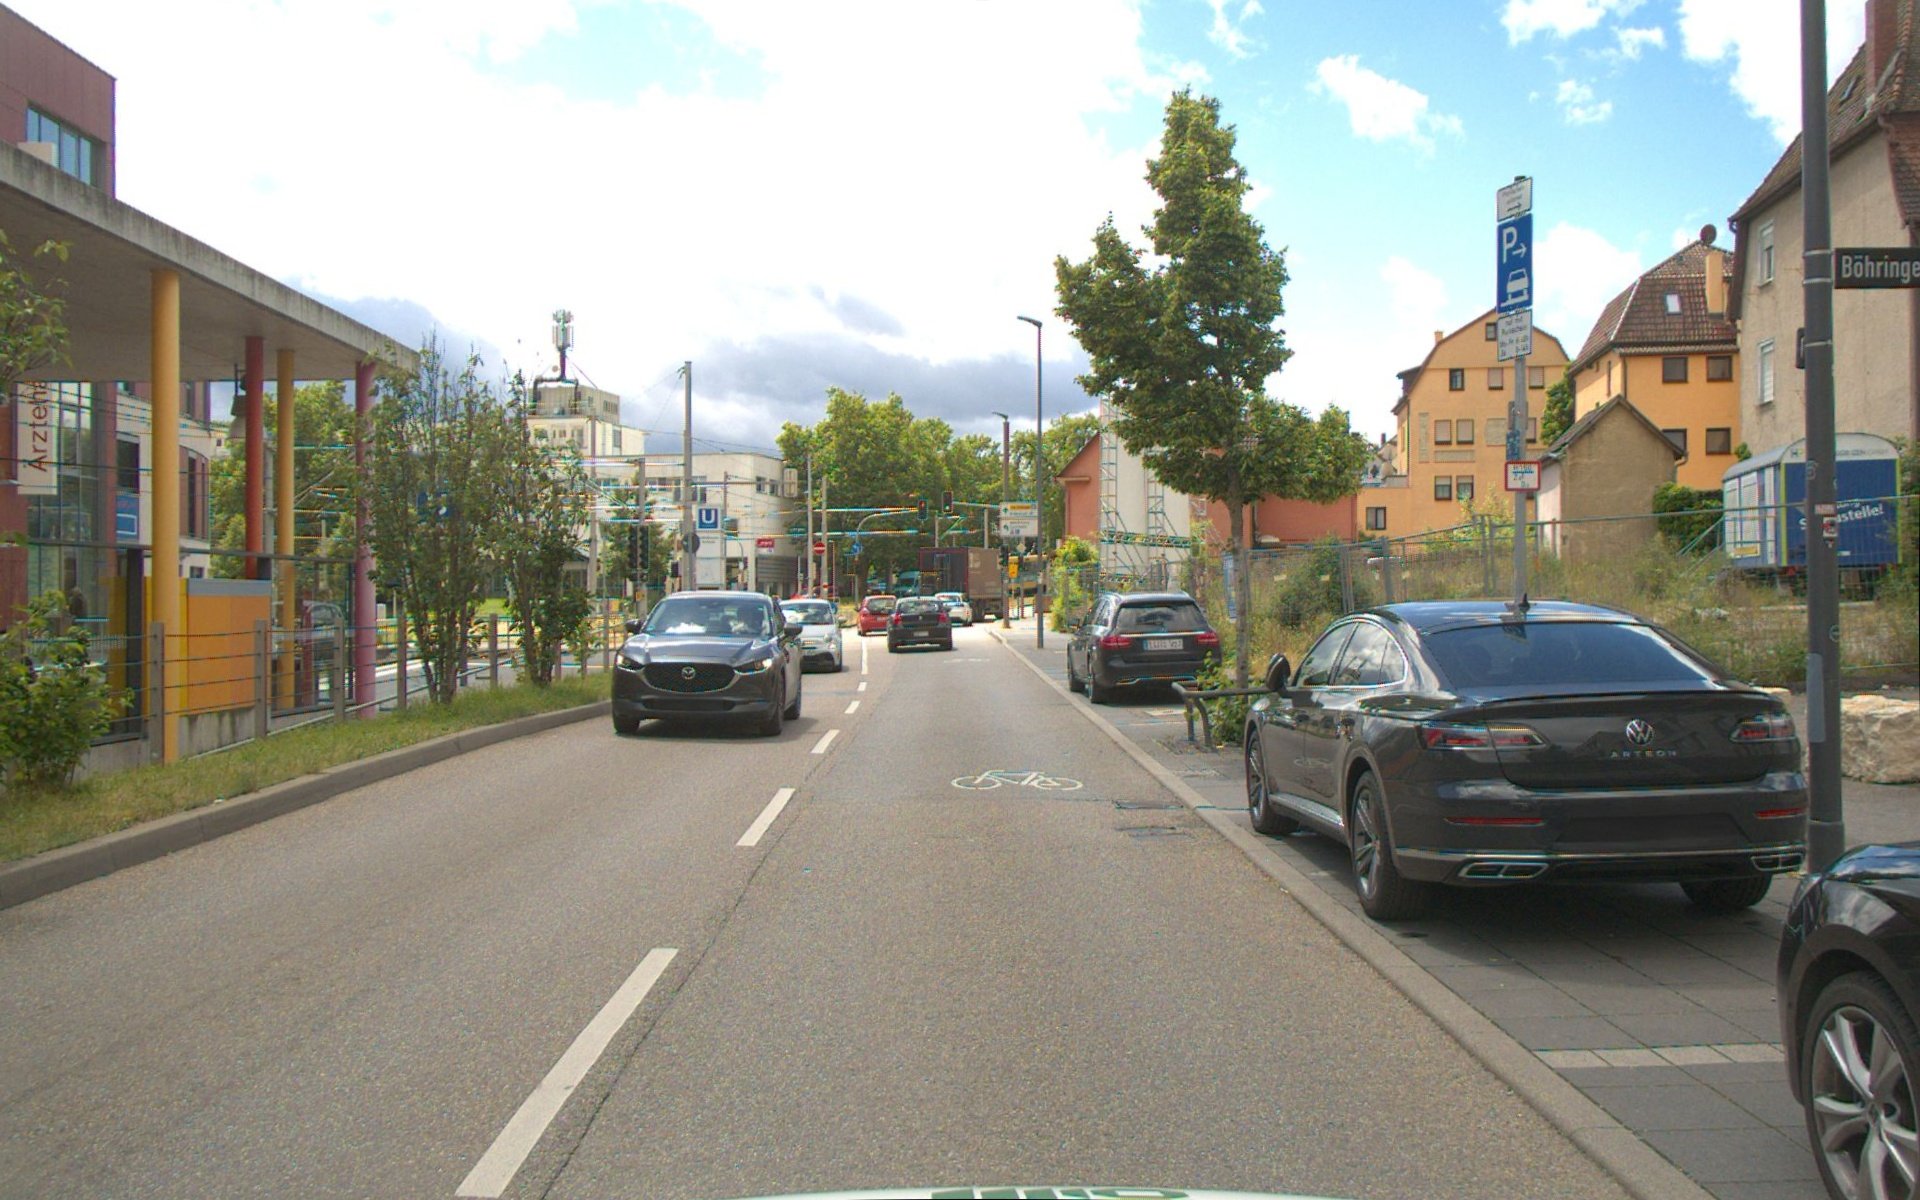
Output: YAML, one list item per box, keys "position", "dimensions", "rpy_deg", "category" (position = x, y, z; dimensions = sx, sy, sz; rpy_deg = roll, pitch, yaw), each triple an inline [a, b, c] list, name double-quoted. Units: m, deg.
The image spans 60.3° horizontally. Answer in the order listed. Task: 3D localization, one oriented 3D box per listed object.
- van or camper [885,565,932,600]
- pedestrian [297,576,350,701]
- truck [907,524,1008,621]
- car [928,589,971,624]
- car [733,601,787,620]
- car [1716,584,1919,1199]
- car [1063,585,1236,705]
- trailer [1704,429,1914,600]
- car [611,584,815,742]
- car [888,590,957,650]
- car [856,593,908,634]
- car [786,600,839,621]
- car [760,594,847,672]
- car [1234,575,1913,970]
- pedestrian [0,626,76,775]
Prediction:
- position: [-4.608, -1.538, 149.105]
  dimensions: [2.130, 2.855, 6.069]
  rpy_deg: [0, -2, 21]
  category: "van or camper"
- position: [-9.774, 0.573, 25.389]
  dimensions: [0.724, 1.877, 0.779]
  rpy_deg: [0, 1, -22]
  category: "pedestrian"
- position: [-0.011, -1.274, 85.040]
  dimensions: [3.135, 4.615, 9.035]
  rpy_deg: [0, -1, 13]
  category: "truck"
- position: [-0.488, 0.303, 74.472]
  dimensions: [1.849, 1.491, 4.068]
  rpy_deg: [-1, -1, -1]
  category: "car"
- position: [-15.580, 0.804, 128.809]
  dimensions: [1.962, 1.489, 3.981]
  rpy_deg: [-1, 0, 39]
  category: "car"
- position: [2.862, 0.698, 2.404]
  dimensions: [1.658, 1.486, 4.147]
  rpy_deg: [-2, 0, 1]
  category: "car"
- position: [2.565, 0.561, 23.361]
  dimensions: [1.746, 1.477, 4.474]
  rpy_deg: [-2, 0, -2]
  category: "car"
- position: [17.557, -1.651, 34.608]
  dimensions: [2.353, 3.176, 6.166]
  rpy_deg: [-2, 0, 13]
  category: "trailer"
- position: [-2.676, 0.638, 18.806]
  dimensions: [1.689, 1.548, 4.254]
  rpy_deg: [2, 0, -1]
  category: "car"
- position: [-1.052, 0.495, 44.486]
  dimensions: [1.692, 1.482, 3.806]
  rpy_deg: [-1, 1, -3]
  category: "car"
- position: [-2.938, 0.477, 61.340]
  dimensions: [1.679, 1.418, 3.804]
  rpy_deg: [-1, 1, -6]
  category: "car"
- position: [-11.941, 0.822, 134.100]
  dimensions: [1.961, 1.628, 4.180]
  rpy_deg: [-1, 1, 38]
  category: "car"
- position: [-3.300, 0.660, 35.467]
  dimensions: [1.736, 1.534, 3.997]
  rpy_deg: [-1, 0, -4]
  category: "car"
- position: [2.780, 0.664, 8.767]
  dimensions: [1.827, 1.476, 4.643]
  rpy_deg: [-2, 0, 0]
  category: "car"
- position: [-10.356, 1.098, 18.387]
  dimensions: [0.749, 1.553, 0.676]
  rpy_deg: [-3, 3, -41]
  category: "pedestrian"
